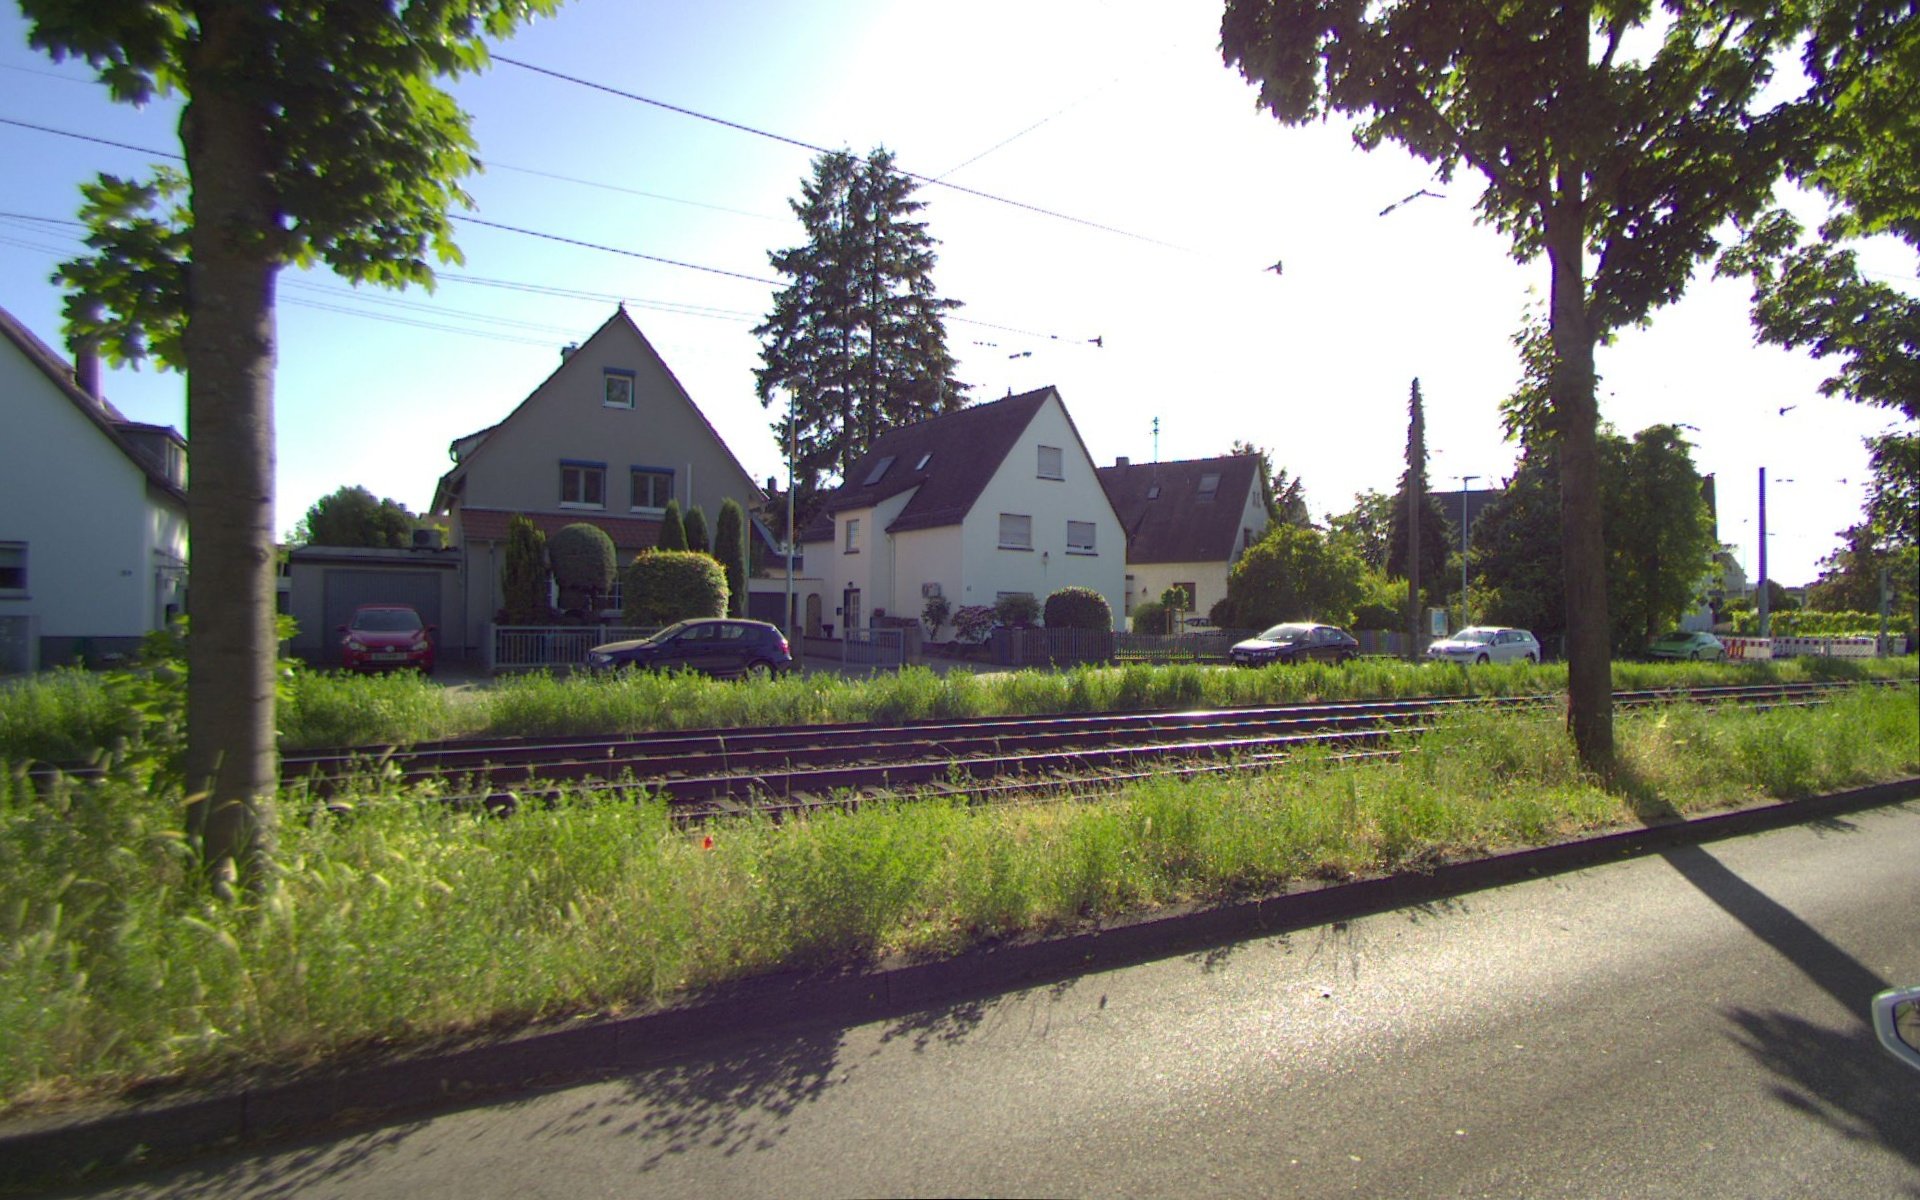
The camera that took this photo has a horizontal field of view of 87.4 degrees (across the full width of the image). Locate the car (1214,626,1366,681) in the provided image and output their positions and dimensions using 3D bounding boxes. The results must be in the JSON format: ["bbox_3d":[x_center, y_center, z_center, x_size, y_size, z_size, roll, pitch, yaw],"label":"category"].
[{"bbox_3d":[9.931,1.573,30.128,4.389,1.485,1.898,2,0,-31],"label":"car"}]

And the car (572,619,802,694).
[{"bbox_3d":[-5.620,1.114,20.772,4.258,1.389,1.984,1,-1,-30],"label":"car"}]

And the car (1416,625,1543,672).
[{"bbox_3d":[18.166,1.692,35.065,4.563,1.492,1.873,2,0,-32],"label":"car"}]

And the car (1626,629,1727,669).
[{"bbox_3d":[30.481,2.078,42.733,4.020,1.521,1.984,2,0,-30],"label":"car"}]

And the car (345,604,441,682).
[{"bbox_3d":[-13.070,0.917,23.060,1.728,1.490,4.452,2,0,-31],"label":"car"}]
